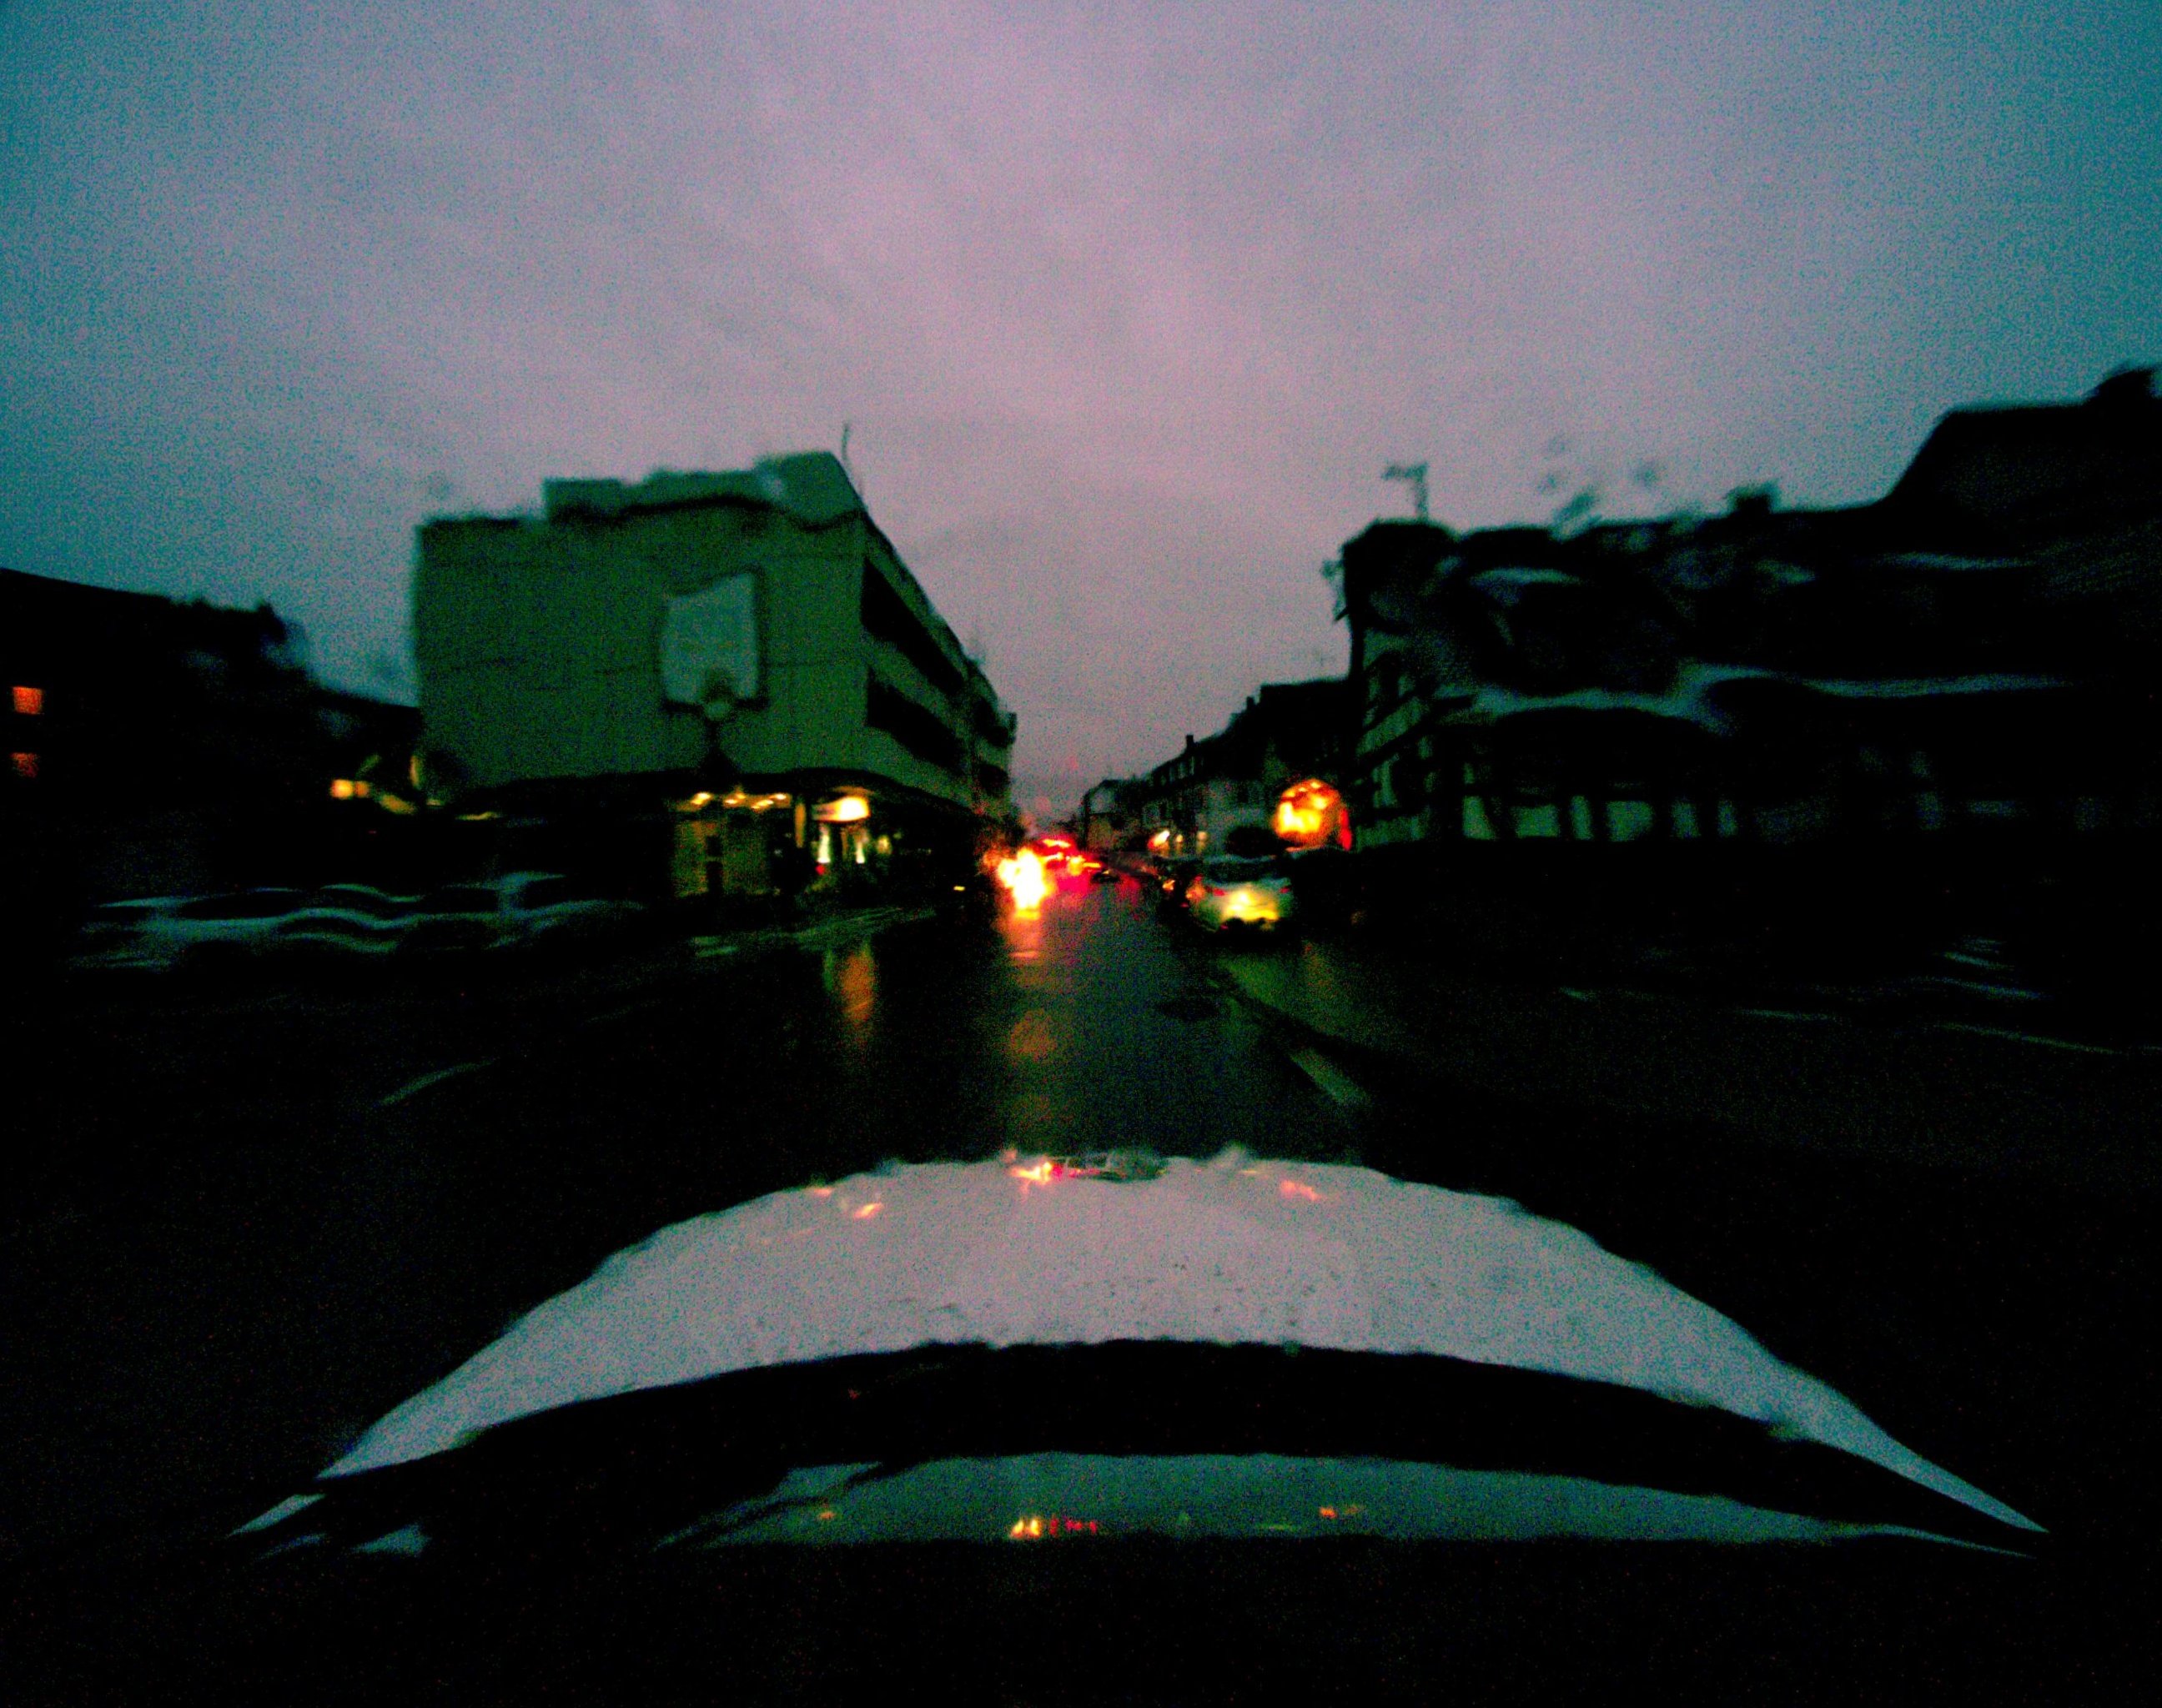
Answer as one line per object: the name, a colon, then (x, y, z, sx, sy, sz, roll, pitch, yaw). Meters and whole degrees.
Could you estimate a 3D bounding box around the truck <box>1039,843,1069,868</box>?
truck: (-3.550, 0.181, 106.124, 3.014, 3.128, 7.977, 0, 0, -8)

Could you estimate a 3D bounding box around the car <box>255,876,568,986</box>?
car: (-11.705, 1.247, 14.739, 1.690, 1.400, 4.456, -2, 1, 4)

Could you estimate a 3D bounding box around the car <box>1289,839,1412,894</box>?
car: (8.504, 0.385, 25.919, 3.278, 1.441, 1.687, -4, -1, 1)

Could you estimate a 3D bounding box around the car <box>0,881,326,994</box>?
car: (-17.048, 1.400, 15.004, 1.688, 1.464, 4.461, -2, 2, 8)

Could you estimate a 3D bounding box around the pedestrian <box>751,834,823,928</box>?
pedestrian: (-6.329, 0.563, 17.586, 0.968, 1.938, 1.204, -2, 0, 6)

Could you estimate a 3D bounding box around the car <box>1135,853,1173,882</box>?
car: (4.185, 0.757, 47.063, 1.788, 1.460, 4.531, -3, 0, 1)

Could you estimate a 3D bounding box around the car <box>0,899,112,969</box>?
car: (-21.958, 1.673, 15.348, 1.687, 1.235, 4.463, -2, 2, 9)

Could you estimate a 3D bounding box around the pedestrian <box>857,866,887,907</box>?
pedestrian: (-6.783, 1.047, 26.432, 0.753, 1.310, 0.828, 0, 0, 0)

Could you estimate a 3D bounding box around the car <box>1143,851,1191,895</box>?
car: (3.214, 0.683, 30.891, 1.619, 1.441, 3.804, -4, 0, 4)

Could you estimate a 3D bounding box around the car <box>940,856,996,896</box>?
car: (-4.638, 0.877, 33.953, 1.608, 1.533, 3.931, 0, 0, 3)

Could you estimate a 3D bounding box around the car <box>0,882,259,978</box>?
car: (-19.935, 1.462, 16.464, 1.688, 1.464, 4.461, -2, 2, 8)

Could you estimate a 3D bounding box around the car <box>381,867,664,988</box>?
car: (-9.209, 1.097, 14.009, 1.758, 1.499, 4.449, -2, 1, -1)

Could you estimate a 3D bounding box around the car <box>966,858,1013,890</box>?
car: (-4.361, 0.936, 39.423, 1.669, 1.446, 4.429, 0, 0, 1)

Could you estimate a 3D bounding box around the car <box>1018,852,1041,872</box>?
car: (-4.419, 0.673, 69.506, 1.792, 1.642, 3.804, 0, 0, -6)

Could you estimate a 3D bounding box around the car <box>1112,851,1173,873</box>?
car: (4.808, 0.616, 64.297, 4.463, 1.473, 1.893, -3, 0, -8)

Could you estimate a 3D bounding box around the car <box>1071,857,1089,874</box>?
car: (-0.131, 1.044, 74.494, 1.633, 1.481, 3.270, 0, 0, -1)

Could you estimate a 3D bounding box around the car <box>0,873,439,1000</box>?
car: (-14.470, 1.261, 14.254, 2.092, 1.499, 5.053, -2, 2, 6)

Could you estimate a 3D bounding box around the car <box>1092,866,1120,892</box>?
car: (1.474, 1.485, 49.239, 1.632, 1.481, 3.378, 0, 0, 0)

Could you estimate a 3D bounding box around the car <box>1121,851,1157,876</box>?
car: (3.929, 0.631, 56.110, 1.878, 1.547, 4.665, -2, 0, -3)

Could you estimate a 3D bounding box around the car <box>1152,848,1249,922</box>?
car: (2.865, 0.703, 20.367, 1.758, 1.526, 4.390, -4, 0, 1)

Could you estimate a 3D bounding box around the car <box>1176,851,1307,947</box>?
car: (2.840, 0.735, 15.221, 1.725, 1.459, 4.002, -4, 0, 2)
